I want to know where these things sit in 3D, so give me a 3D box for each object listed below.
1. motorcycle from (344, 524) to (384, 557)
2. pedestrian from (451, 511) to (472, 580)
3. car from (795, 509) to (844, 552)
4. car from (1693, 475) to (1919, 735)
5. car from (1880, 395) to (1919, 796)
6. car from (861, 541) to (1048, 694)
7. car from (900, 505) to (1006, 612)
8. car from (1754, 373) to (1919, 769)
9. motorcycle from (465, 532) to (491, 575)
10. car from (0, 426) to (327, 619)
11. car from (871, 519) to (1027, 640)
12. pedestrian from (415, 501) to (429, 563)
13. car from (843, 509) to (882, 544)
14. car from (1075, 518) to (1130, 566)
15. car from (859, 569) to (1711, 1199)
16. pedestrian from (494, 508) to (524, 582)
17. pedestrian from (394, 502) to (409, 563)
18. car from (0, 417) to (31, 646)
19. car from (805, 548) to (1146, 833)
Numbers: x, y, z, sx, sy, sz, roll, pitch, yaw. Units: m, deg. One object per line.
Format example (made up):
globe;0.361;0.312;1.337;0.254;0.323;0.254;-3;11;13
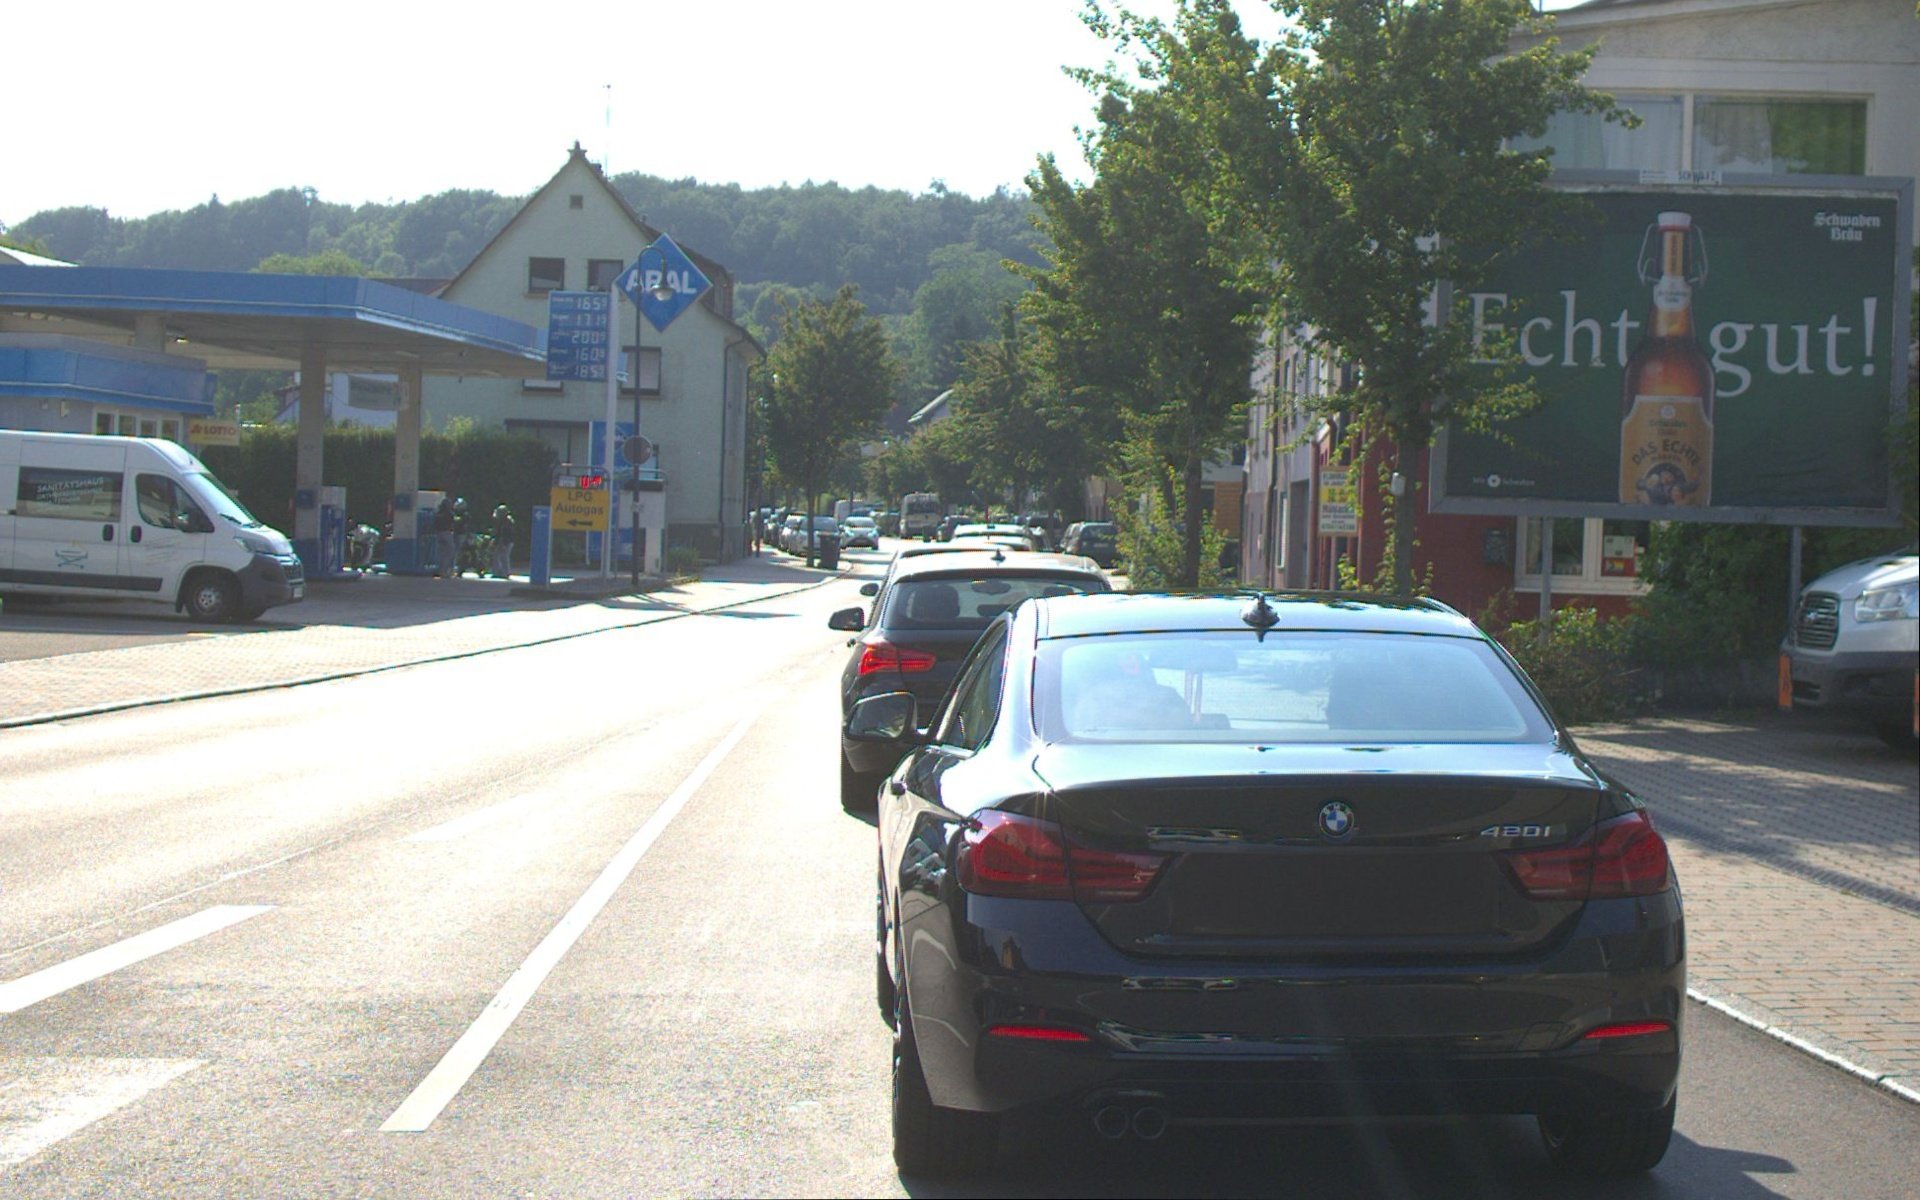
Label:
motorcycle;-13.512;-1.361;77.924;0.459;0.727;1.473;1;2;8
pedestrian;-11.286;-1.241;77.890;0.407;1.541;0.433;1;1;-2
car;-5.079;-2.523;124.655;1.597;1.480;3.475;2;2;0
car;7.551;0.036;25.997;3.599;1.887;1.587;1;2;-2
car;8.676;0.035;19.972;6.043;2.355;2.044;1;2;-1
car;-0.007;0.136;34.965;1.754;1.409;3.422;1;2;2
car;-0.099;-0.741;59.090;1.603;1.761;3.411;1;2;3
car;8.592;-0.163;22.932;6.043;2.507;2.044;1;2;-1
motorcycle;-10.851;-1.056;77.438;0.363;0.940;1.696;1;2;-1
car;-11.970;-1.103;46.888;6.159;2.436;2.249;2;2;1
car;-0.118;-0.327;48.745;1.592;1.594;3.892;1;2;9
pedestrian;-12.067;-1.524;77.082;0.262;1.378;0.288;1;1;-5
car;-4.346;-3.310;153.608;1.597;1.480;3.475;2;2;0
car;4.628;-1.900;112.009;1.597;1.480;3.475;2;2;0
car;0.616;0.651;9.278;1.699;1.364;4.263;0;2;-3
pedestrian;-10.199;-1.253;77.764;0.610;1.664;0.442;1;1;-2
pedestrian;-12.427;-1.506;76.532;0.287;1.362;0.263;1;1;-3
car;-13.325;-0.842;37.113;5.921;2.471;2.193;2;2;5
car;0.139;0.452;19.885;1.772;1.451;3.515;1;1;2
